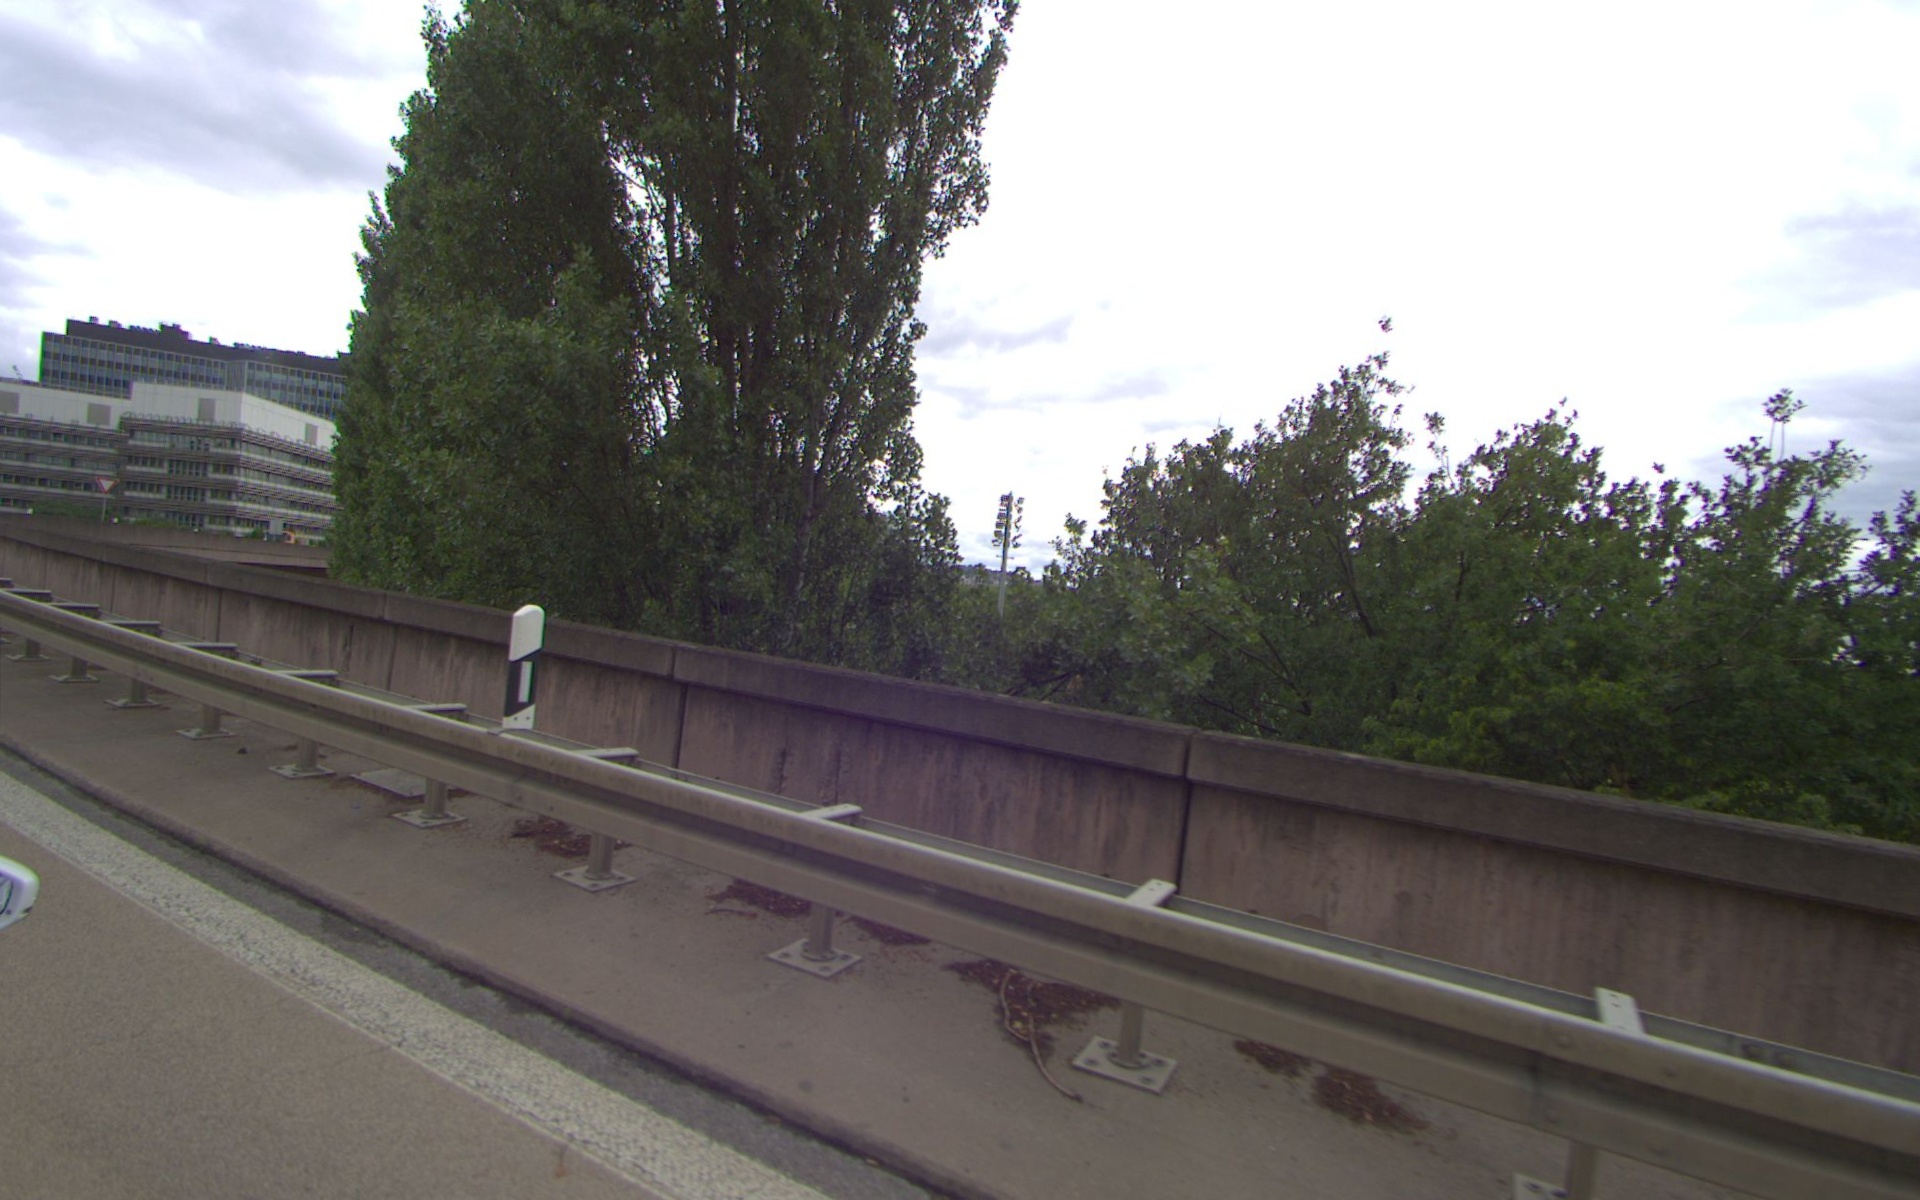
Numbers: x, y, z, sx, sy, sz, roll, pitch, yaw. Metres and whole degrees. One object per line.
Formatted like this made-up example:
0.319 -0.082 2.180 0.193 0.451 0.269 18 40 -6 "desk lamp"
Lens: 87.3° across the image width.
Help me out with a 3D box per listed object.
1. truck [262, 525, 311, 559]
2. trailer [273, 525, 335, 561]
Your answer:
-78.848 -6.746 117.838 2.704 3.523 5.097 5 0 -10 "truck"
-79.691 -6.824 122.439 2.697 3.681 9.340 5 -1 -11 "trailer"
